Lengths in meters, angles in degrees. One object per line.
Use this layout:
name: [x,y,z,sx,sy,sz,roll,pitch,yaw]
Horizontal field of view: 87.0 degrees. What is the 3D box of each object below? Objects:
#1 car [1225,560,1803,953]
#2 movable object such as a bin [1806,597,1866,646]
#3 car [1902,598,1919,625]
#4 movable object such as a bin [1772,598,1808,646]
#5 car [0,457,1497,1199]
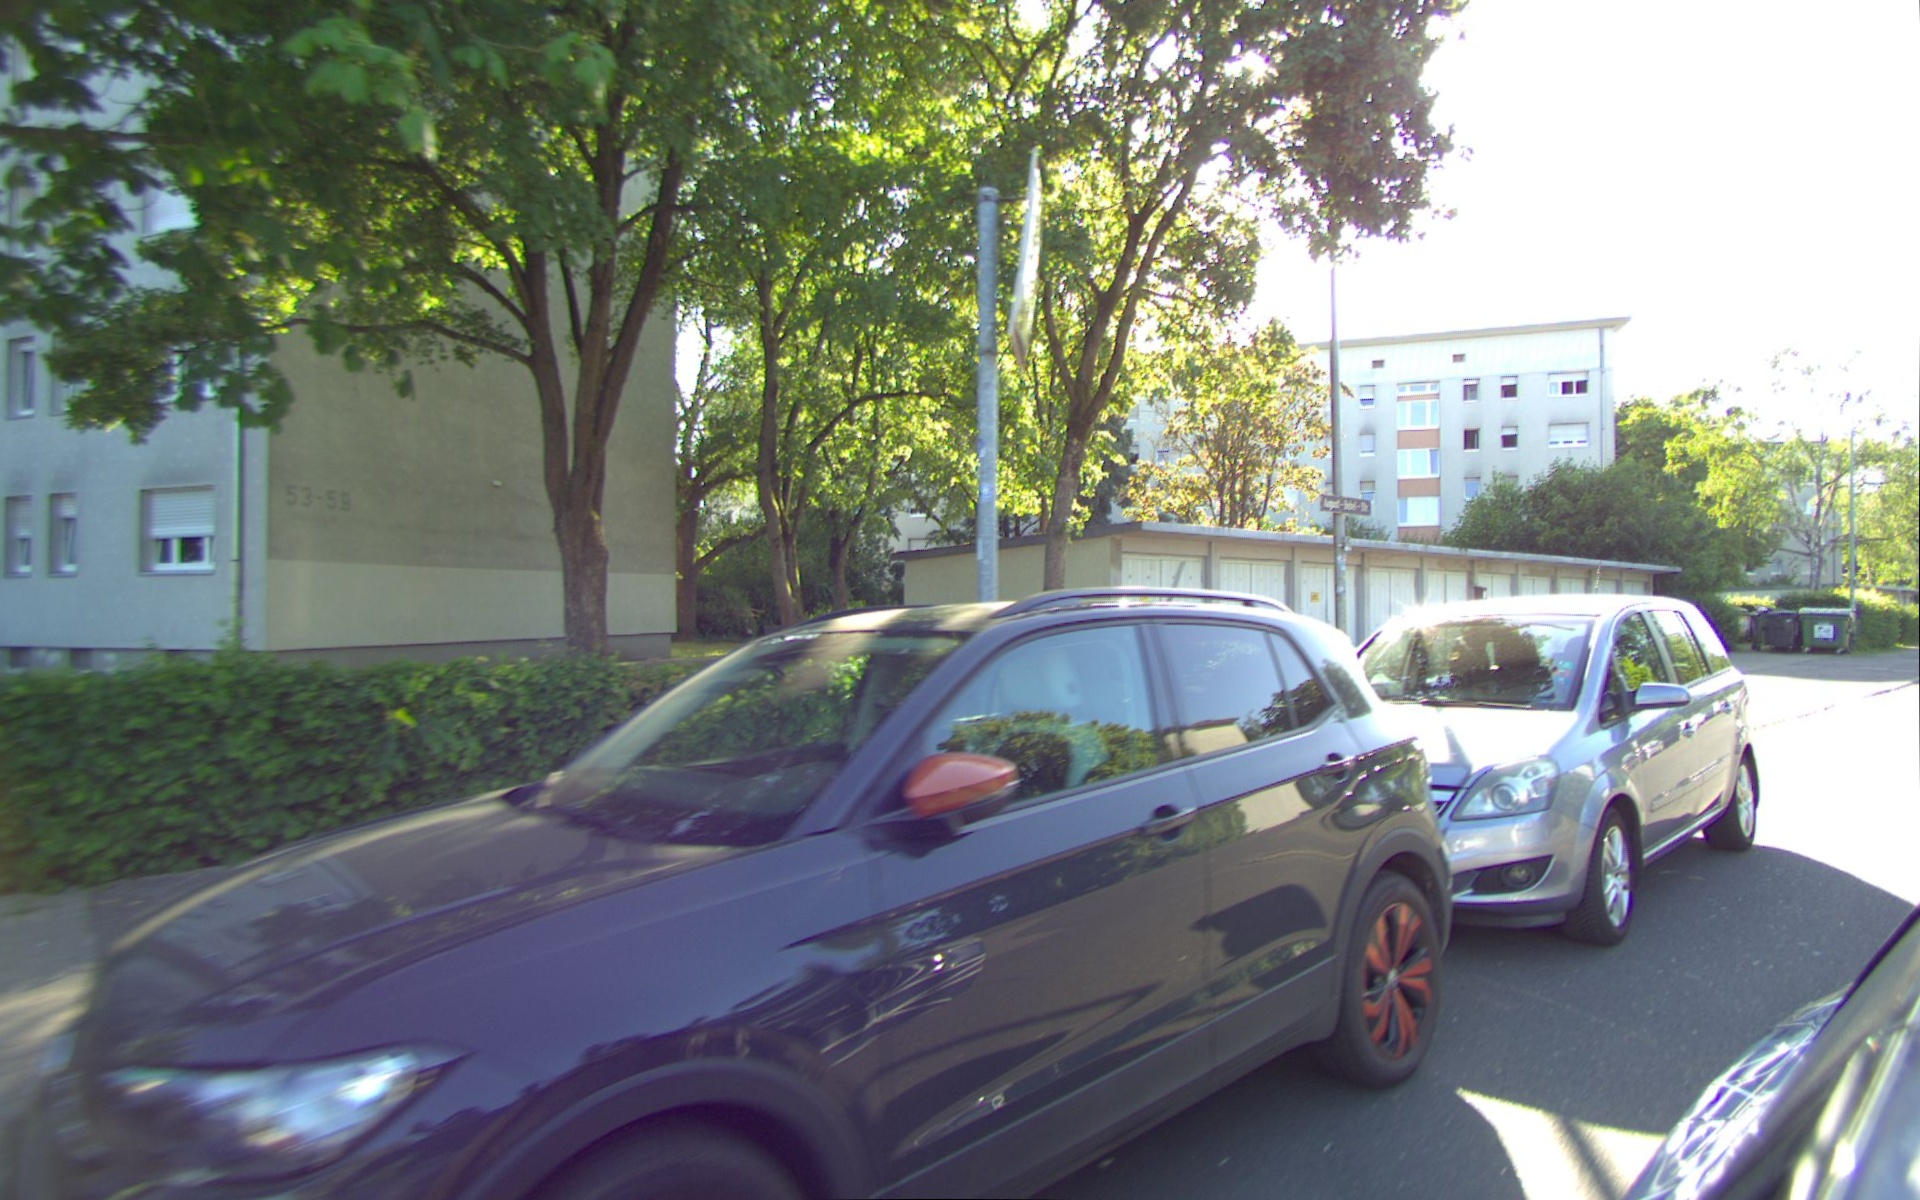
car: [3.668,0.650,6.315,4.297,1.631,1.770,-1,-2,-42]
movable object such as a bin: [27.526,0.648,31.790,1.159,1.460,1.276,-1,2,-41]
car: [56.632,0.602,58.201,3.494,1.527,1.577,-3,-2,45]
movable object such as a bin: [26.503,0.688,32.306,0.834,1.460,0.753,-1,1,-41]
car: [-0.194,0.679,3.006,3.953,1.614,1.807,0,-2,-41]
